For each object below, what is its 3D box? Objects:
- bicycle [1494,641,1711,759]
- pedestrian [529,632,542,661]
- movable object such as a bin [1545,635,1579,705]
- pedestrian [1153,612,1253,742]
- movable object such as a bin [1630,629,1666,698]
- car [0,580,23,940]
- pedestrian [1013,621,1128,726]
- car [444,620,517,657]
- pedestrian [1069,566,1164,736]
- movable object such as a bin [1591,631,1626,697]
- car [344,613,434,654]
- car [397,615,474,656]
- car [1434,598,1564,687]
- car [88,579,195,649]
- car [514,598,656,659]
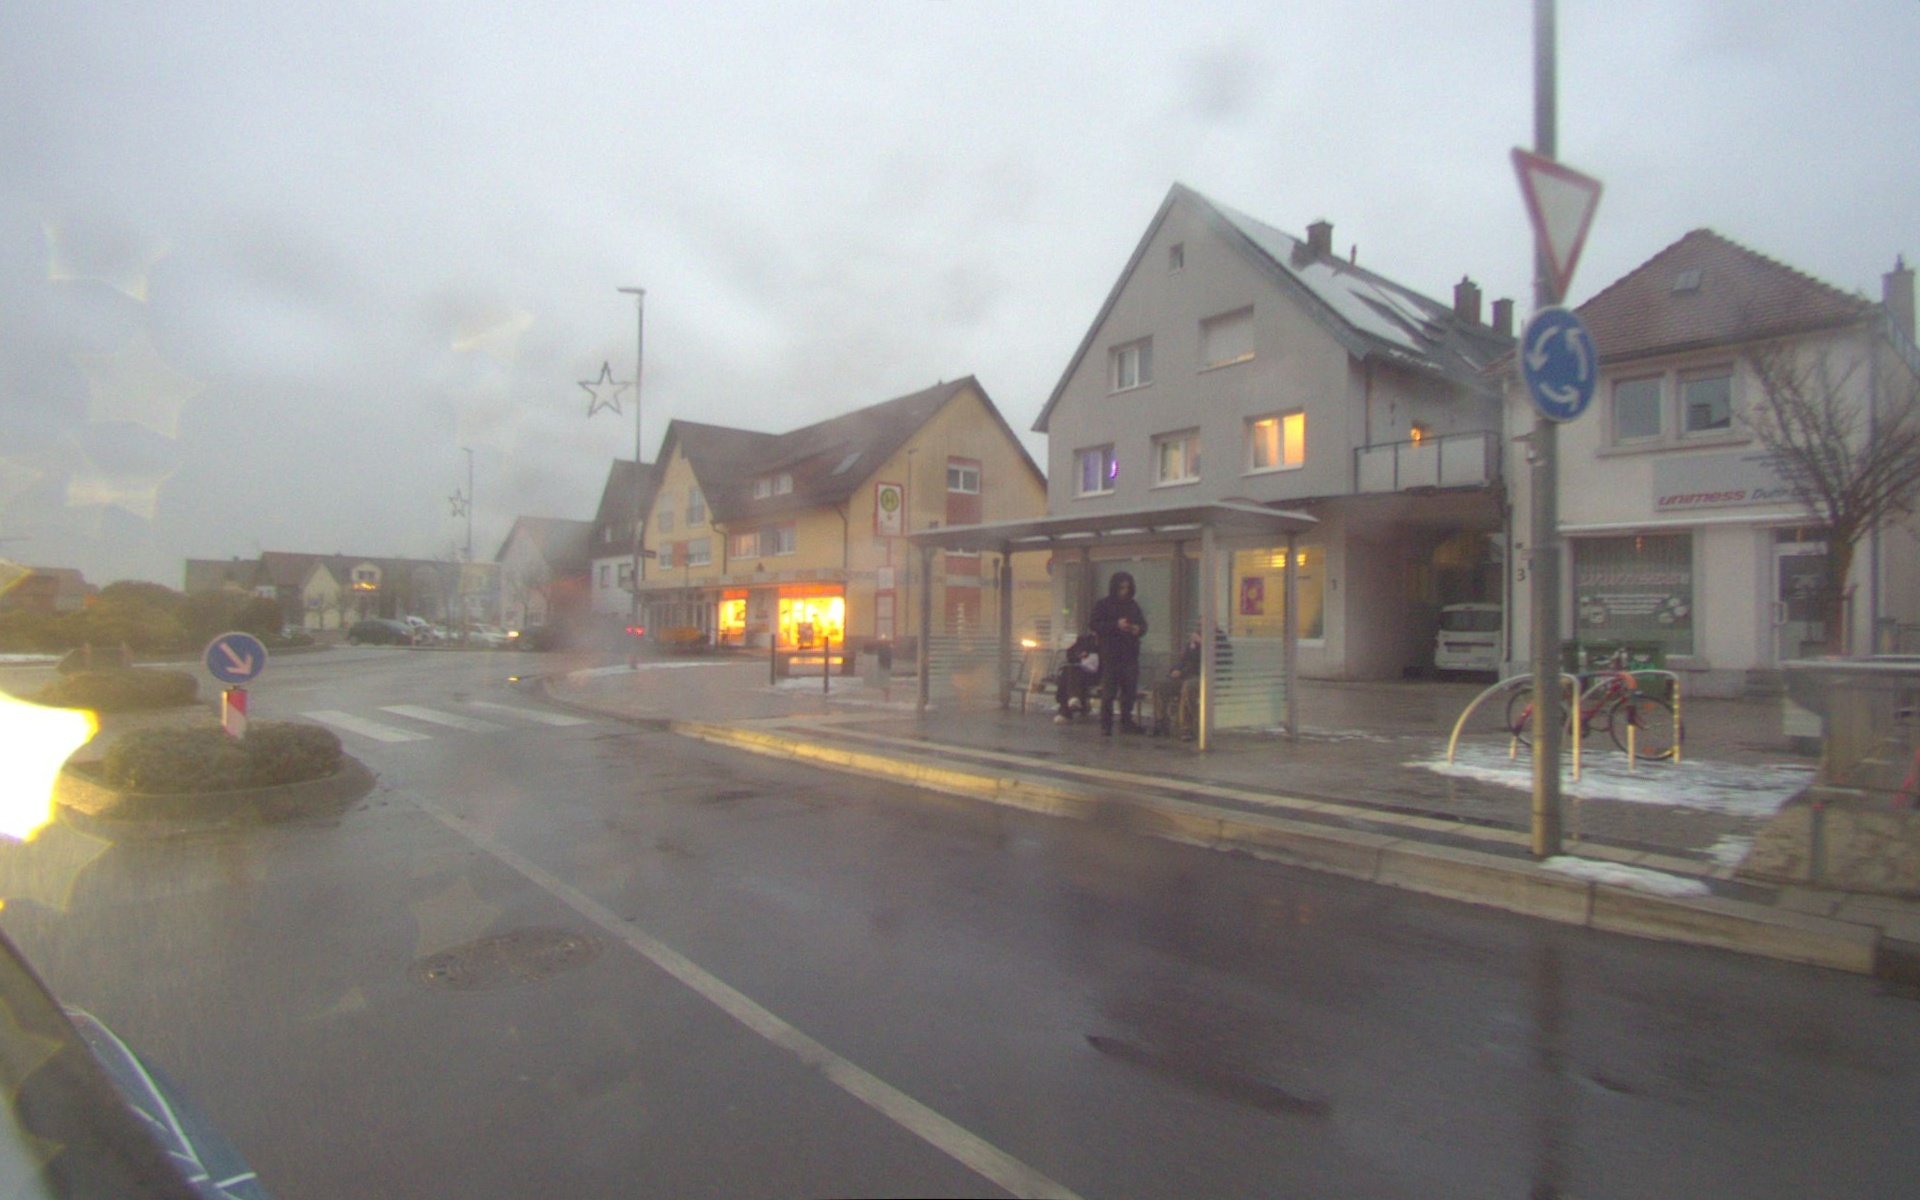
[{"bbox_3d":[6.201,0.923,9.873,0.463,1.017,1.744,1,-2,-32],"label":"bicycle"},{"bbox_3d":[-24.780,2.703,59.099,0.574,1.623,0.500,0,1,-44],"label":"pedestrian"},{"bbox_3d":[10.972,1.268,18.460,0.284,1.219,0.454,0,1,-44],"label":"movable object such as a bin"},{"bbox_3d":[2.544,0.778,10.596,0.677,1.281,0.751,0,-1,-44],"label":"pedestrian"},{"bbox_3d":[11.873,1.088,17.469,0.284,1.151,0.454,0,1,-44],"label":"movable object such as a bin"},{"bbox_3d":[-6.399,0.717,5.093,4.106,1.597,1.933,-1,-1,39],"label":"car"},{"bbox_3d":[1.308,0.849,12.051,0.976,1.167,0.903,0,-3,-40],"label":"pedestrian"},{"bbox_3d":[-27.716,2.185,58.494,3.854,1.895,1.918,1,1,28],"label":"car"},{"bbox_3d":[1.695,0.532,10.949,0.687,1.755,0.740,-2,-1,41],"label":"pedestrian"},{"bbox_3d":[11.481,1.130,17.921,0.284,1.129,0.454,0,1,-44],"label":"movable object such as a bin"},{"bbox_3d":[-30.378,1.741,53.917,3.962,2.010,1.962,1,1,15],"label":"car"},{"bbox_3d":[-29.142,1.935,56.263,3.953,2.029,1.908,1,1,28],"label":"car"},{"bbox_3d":[12.358,0.936,23.143,3.373,1.867,1.516,1,-1,-40],"label":"car"},{"bbox_3d":[-25.373,0.367,31.523,2.024,2.002,4.551,0,1,-32],"label":"car"},{"bbox_3d":[-13.149,0.975,35.738,4.394,2.029,2.004,1,1,-7],"label":"car"}]
